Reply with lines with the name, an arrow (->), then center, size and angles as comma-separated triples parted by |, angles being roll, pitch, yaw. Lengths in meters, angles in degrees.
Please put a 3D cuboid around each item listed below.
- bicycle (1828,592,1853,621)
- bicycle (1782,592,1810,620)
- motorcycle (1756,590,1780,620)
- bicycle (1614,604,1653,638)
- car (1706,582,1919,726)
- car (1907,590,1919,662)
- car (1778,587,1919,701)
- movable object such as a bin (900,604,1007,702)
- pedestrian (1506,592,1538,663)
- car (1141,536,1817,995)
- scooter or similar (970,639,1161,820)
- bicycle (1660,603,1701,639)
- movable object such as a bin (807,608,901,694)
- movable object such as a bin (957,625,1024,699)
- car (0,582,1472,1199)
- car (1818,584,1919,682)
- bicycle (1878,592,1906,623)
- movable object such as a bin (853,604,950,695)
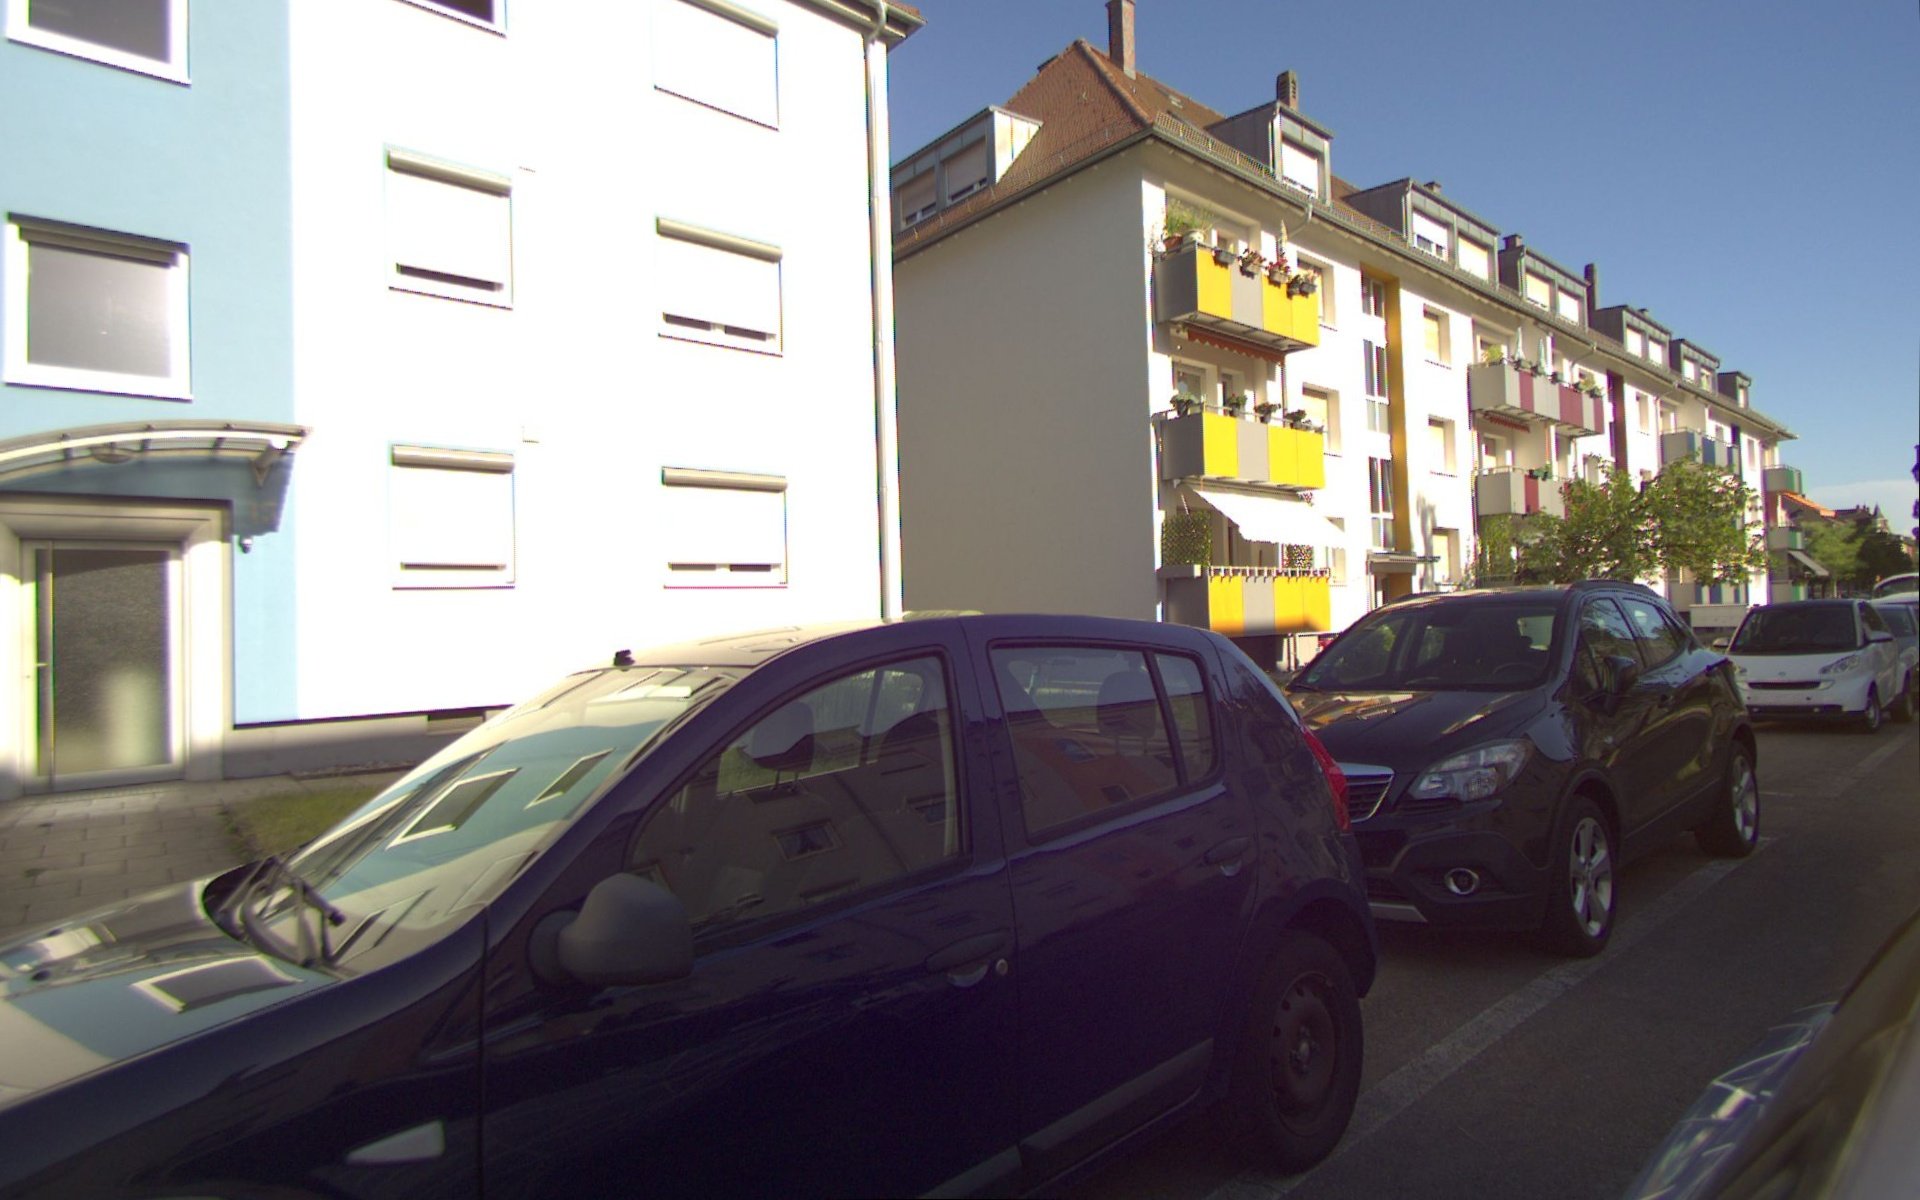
bicycle -> 36.421, 0.267, 41.849 | 1.840, 1.135, 0.544 | -1, 0, -42
bicycle -> 35.518, 0.261, 42.978 | 1.840, 1.130, 0.597 | -1, -1, -42
motorcycle -> 35.010, 0.221, 43.862 | 1.942, 1.254, 0.442 | -1, -1, -41
bicycle -> 21.835, 0.666, 32.780 | 1.940, 1.050, 0.521 | -1, -1, -40
car -> 10.661, 0.624, 12.471 | 2.886, 1.549, 1.483 | -1, -4, -37
car -> 22.389, 0.483, 22.334 | 4.405, 1.524, 1.773 | -1, -2, -43
car -> 13.837, 0.604, 15.214 | 3.916, 1.510, 1.695 | -1, -4, -42
movable object such as a bin -> -0.110, 0.817, 16.302 | 1.087, 1.424, 1.330 | -3, 1, -40
pedestrian -> 12.287, 0.598, 22.114 | 0.354, 1.514, 0.451 | -2, 0, -40
car -> 3.202, 0.623, 5.806 | 4.389, 1.669, 1.786 | -1, -3, -40
scooter or similar -> 0.822, 0.913, 7.625 | 1.561, 1.163, 0.484 | -1, 1, -40
bicycle -> 22.569, 0.633, 31.699 | 2.248, 1.062, 0.521 | -1, 0, -41
movable object such as a bin -> -1.966, 0.905, 18.659 | 1.123, 1.443, 1.345 | -3, 1, -40
movable object such as a bin -> 0.470, 0.933, 15.479 | 0.744, 1.047, 0.644 | -3, 1, -40
car -> -0.531, 0.755, 2.464 | 4.082, 1.518, 1.644 | -1, -2, -40
car -> 17.778, 0.532, 18.654 | 4.905, 1.634, 1.997 | -1, -3, -39
bicycle -> 36.911, 0.297, 40.066 | 1.839, 1.185, 0.545 | -1, 0, -40
movable object such as a bin -> -1.019, 0.819, 17.470 | 1.037, 1.429, 1.345 | -3, 1, -40
